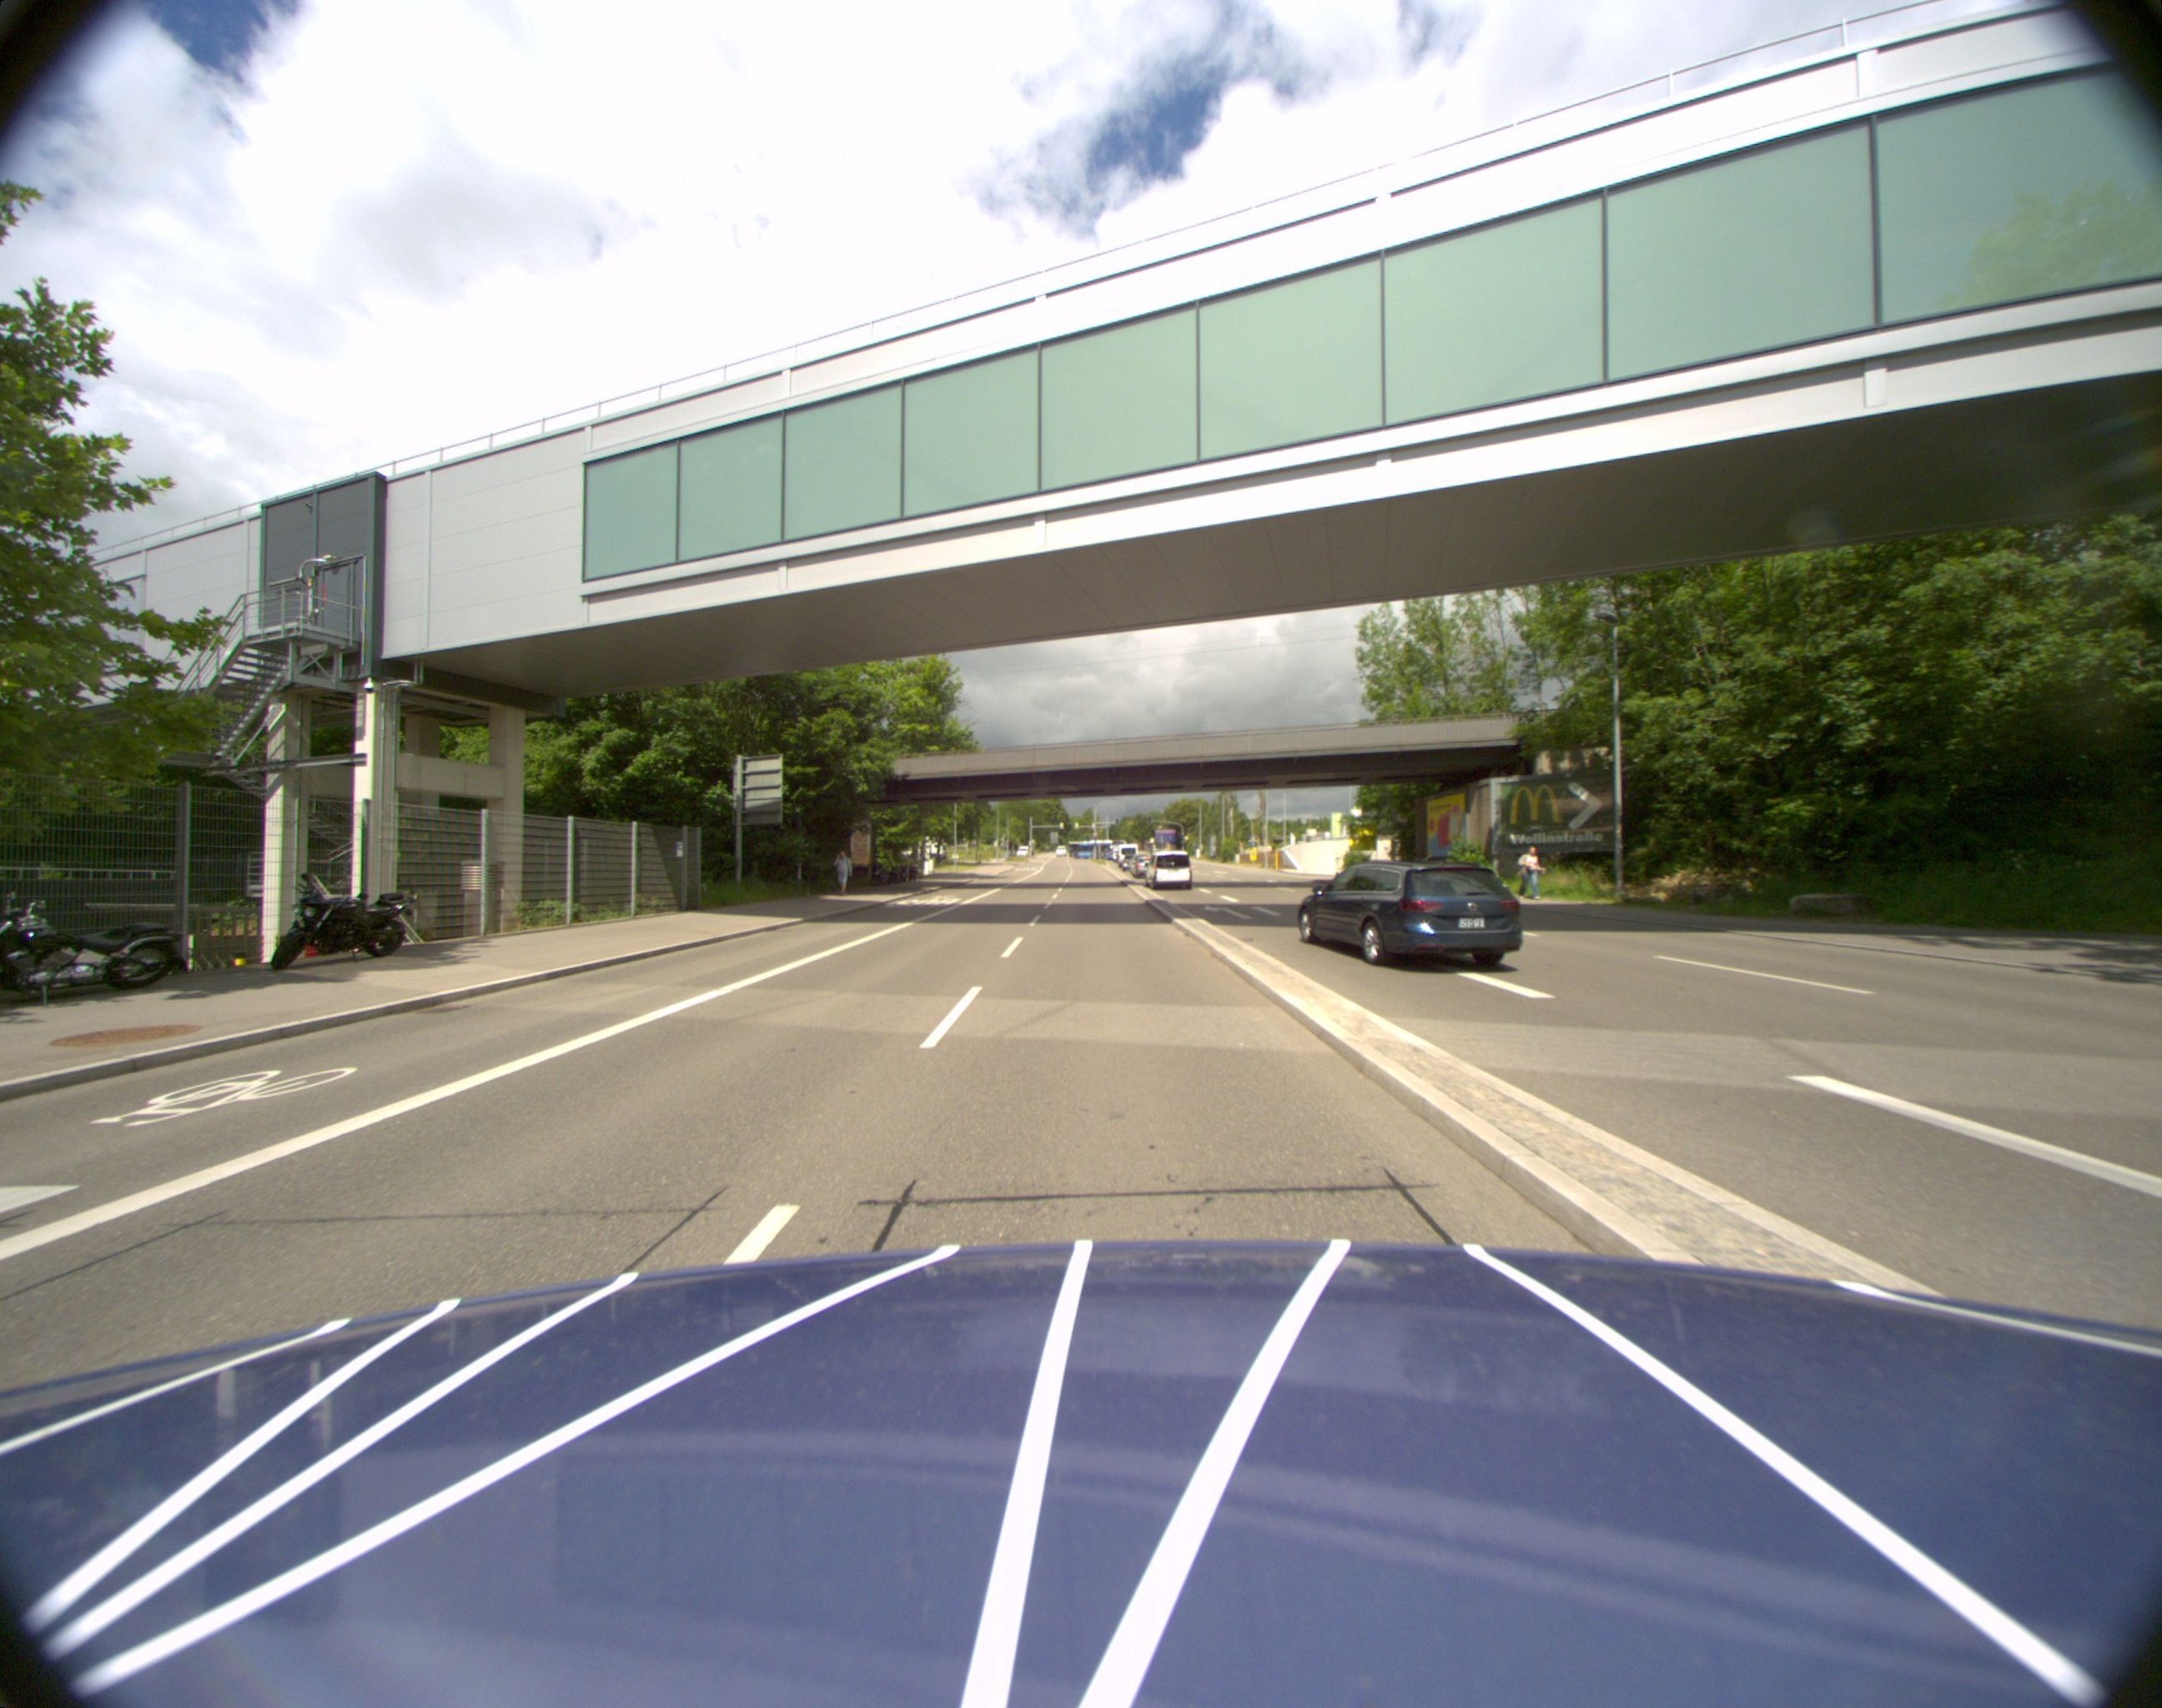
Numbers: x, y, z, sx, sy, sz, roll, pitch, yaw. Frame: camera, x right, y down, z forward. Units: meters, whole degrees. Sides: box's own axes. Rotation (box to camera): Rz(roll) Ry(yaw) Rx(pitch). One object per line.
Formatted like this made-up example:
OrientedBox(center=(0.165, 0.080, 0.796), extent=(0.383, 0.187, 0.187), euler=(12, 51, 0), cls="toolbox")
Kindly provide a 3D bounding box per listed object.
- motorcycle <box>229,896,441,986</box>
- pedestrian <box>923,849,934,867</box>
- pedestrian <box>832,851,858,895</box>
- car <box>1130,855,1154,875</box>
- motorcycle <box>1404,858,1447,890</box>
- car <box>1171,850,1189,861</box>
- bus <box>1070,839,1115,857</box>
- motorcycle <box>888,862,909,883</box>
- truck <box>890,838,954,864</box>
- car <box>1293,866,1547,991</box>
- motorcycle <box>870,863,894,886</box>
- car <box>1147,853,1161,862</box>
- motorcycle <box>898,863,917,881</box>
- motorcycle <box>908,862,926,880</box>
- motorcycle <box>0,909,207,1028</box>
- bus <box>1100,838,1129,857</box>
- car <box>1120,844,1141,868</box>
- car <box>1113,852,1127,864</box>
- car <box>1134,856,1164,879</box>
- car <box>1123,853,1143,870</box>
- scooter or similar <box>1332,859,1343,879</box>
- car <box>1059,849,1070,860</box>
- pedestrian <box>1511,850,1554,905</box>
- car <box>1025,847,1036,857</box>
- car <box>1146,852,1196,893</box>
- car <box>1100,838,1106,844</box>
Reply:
OrientedBox(center=(-11.152, 1.243, 11.538), extent=(0.709, 1.058, 2.510), euler=(2, 0, 1), cls="motorcycle")
OrientedBox(center=(-15.340, 0.426, 76.209), extent=(0.952, 1.801, 0.717), euler=(0, 1, -23), cls="pedestrian")
OrientedBox(center=(-10.177, 0.804, 32.768), extent=(0.791, 1.876, 1.097), euler=(0, 0, 0), cls="pedestrian")
OrientedBox(center=(4.732, 0.813, 59.507), extent=(1.509, 1.480, 3.115), euler=(-1, 0, -1), cls="car")
OrientedBox(center=(13.927, 0.791, 30.785), extent=(0.641, 1.191, 2.257), euler=(-3, 1, 0), cls="motorcycle")
OrientedBox(center=(13.069, 0.170, 100.369), extent=(1.998, 1.346, 4.001), euler=(0, 0, 3), cls="car")
OrientedBox(center=(1.920, -1.047, 132.919), extent=(2.656, 2.919, 9.763), euler=(-3, 1, -33), cls="bus")
OrientedBox(center=(-10.526, 1.066, 43.864), extent=(0.679, 1.136, 2.160), euler=(0, 0, 0), cls="motorcycle")
OrientedBox(center=(-25.983, -0.410, 124.326), extent=(10.065, 3.981, 2.793), euler=(-1, 0, 17), cls="truck")
OrientedBox(center=(4.806, 0.954, 11.584), extent=(1.713, 1.445, 4.478), euler=(-1, 0, -2), cls="car")
OrientedBox(center=(-10.847, 1.101, 41.417), extent=(0.679, 1.148, 2.113), euler=(0, 0, 2), cls="motorcycle")
OrientedBox(center=(12.128, 0.557, 126.222), extent=(1.998, 1.478, 4.001), euler=(0, 0, 3), cls="car")
OrientedBox(center=(-10.572, 1.096, 46.263), extent=(0.679, 1.076, 2.038), euler=(0, 0, 0), cls="motorcycle")
OrientedBox(center=(-10.533, 1.092, 48.840), extent=(0.679, 1.076, 2.180), euler=(0, 0, 0), cls="motorcycle")
OrientedBox(center=(-11.319, 1.230, 8.410), extent=(0.670, 1.058, 2.247), euler=(2, 0, 1), cls="motorcycle")
OrientedBox(center=(5.476, -1.091, 125.353), extent=(2.653, 2.929, 8.527), euler=(-2, 1, -13), cls="bus")
OrientedBox(center=(5.412, 0.179, 82.222), extent=(2.045, 2.458, 5.574), euler=(-2, 0, 5), cls="car")
OrientedBox(center=(5.785, 0.601, 113.236), extent=(1.827, 1.796, 4.255), euler=(-2, 0, 0), cls="car")
OrientedBox(center=(4.564, 0.874, 51.669), extent=(1.713, 1.480, 3.984), euler=(0, 0, 0), cls="car")
OrientedBox(center=(4.678, 0.672, 68.489), extent=(1.572, 1.522, 2.738), euler=(-1, 0, 0), cls="car")
OrientedBox(center=(14.892, 0.859, 44.149), extent=(0.477, 1.114, 1.385), euler=(0, 0, 12), cls="scooter or similar")
OrientedBox(center=(-3.335, 0.129, 156.615), extent=(1.999, 2.267, 3.998), euler=(-1, 0, -5), cls="car")
OrientedBox(center=(13.825, 0.710, 23.269), extent=(0.769, 1.602, 0.813), euler=(-3, 1, 0), cls="pedestrian")
OrientedBox(center=(-9.762, -0.312, 146.126), extent=(1.999, 1.888, 4.081), euler=(0, 1, -3), cls="car")
OrientedBox(center=(4.179, 0.809, 36.083), extent=(1.813, 1.770, 4.978), euler=(-1, 0, 1), cls="car")
OrientedBox(center=(7.426, -4.362, 257.393), extent=(1.998, 2.002, 4.000), euler=(-1, 0, 1), cls="car")
